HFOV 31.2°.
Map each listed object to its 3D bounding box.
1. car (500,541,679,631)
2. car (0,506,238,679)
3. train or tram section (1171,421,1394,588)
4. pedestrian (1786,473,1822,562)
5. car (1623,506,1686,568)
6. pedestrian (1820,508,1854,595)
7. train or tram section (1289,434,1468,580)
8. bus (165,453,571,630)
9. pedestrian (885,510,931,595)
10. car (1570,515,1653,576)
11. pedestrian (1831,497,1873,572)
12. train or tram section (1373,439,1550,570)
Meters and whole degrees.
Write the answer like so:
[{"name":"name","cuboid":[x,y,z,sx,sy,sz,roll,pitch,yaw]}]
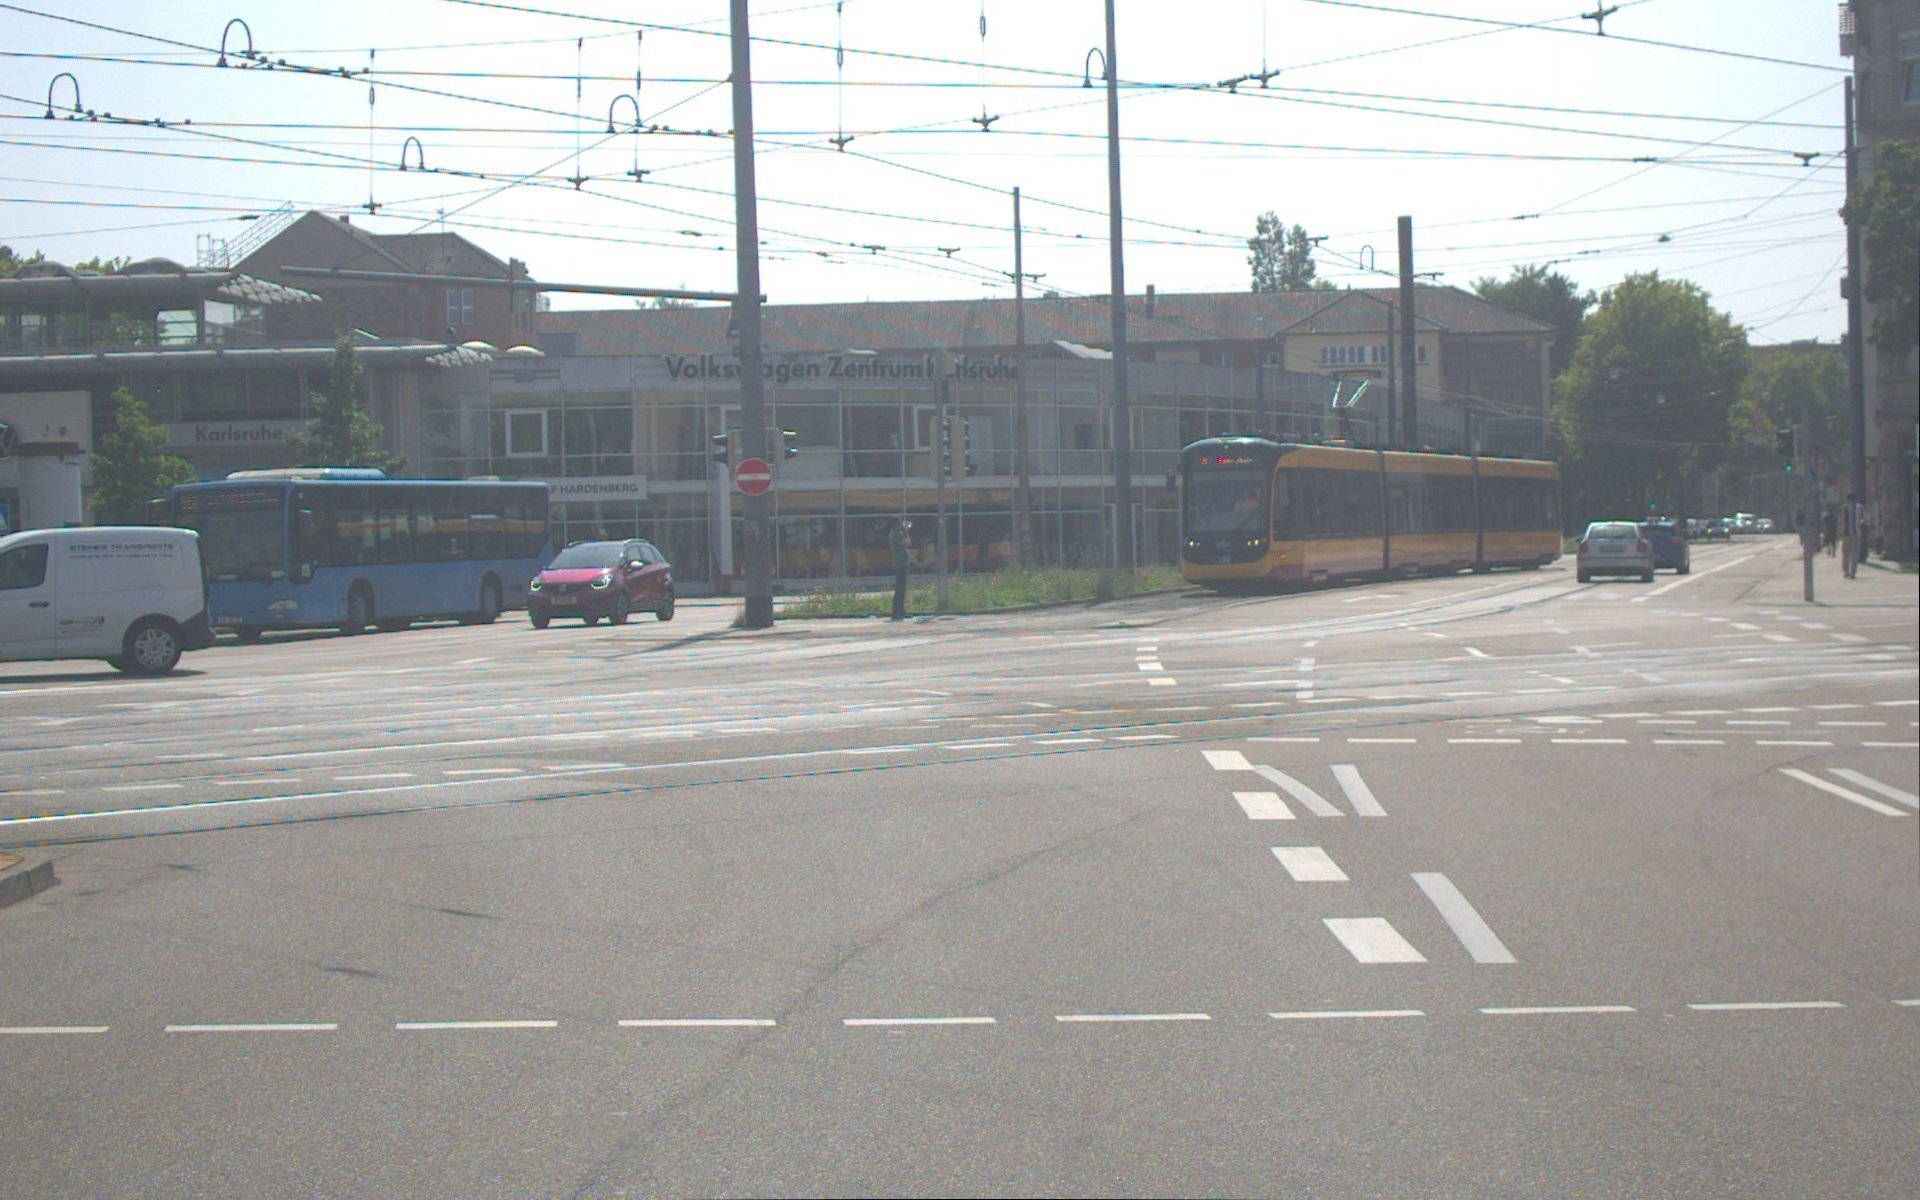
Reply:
[{"name":"car","cuboid":[-6.769,-0.282,63.205,1.751,1.546,3.997,-1,1,18]},{"name":"car","cuboid":[-11.289,-0.097,41.772,4.609,2.007,2.001,-1,1,-22]},{"name":"train or tram section","cuboid":[7.541,-2.157,78.689,2.590,3.504,10.889,-1,1,19]},{"name":"pedestrian","cuboid":[28.615,-2.797,116.575,0.983,3.007,0.974,-1,1,6]},{"name":"car","cuboid":[18.902,-1.718,93.486,1.637,1.612,3.998,-1,1,12]},{"name":"pedestrian","cuboid":[30.855,-1.711,120.951,0.983,3.007,0.974,-1,1,4]},{"name":"train or tram section","cuboid":[10.877,-2.377,88.445,2.591,3.504,9.650,-1,1,19]},{"name":"bus","cuboid":[-11.104,-1.162,66.378,2.564,3.072,12.014,-1,1,17]},{"name":"pedestrian","cuboid":[-0.889,-0.809,58.557,0.676,1.438,0.366,-1,1,-17]},{"name":"car","cuboid":[15.782,-1.332,83.118,1.771,1.411,4.186,-1,1,13]},{"name":"pedestrian","cuboid":[19.276,-1.411,74.313,0.699,1.597,0.573,-1,1,-7]},{"name":"train or tram section","cuboid":[14.615,-2.723,99.163,2.591,3.504,12.960,-1,1,19]}]
